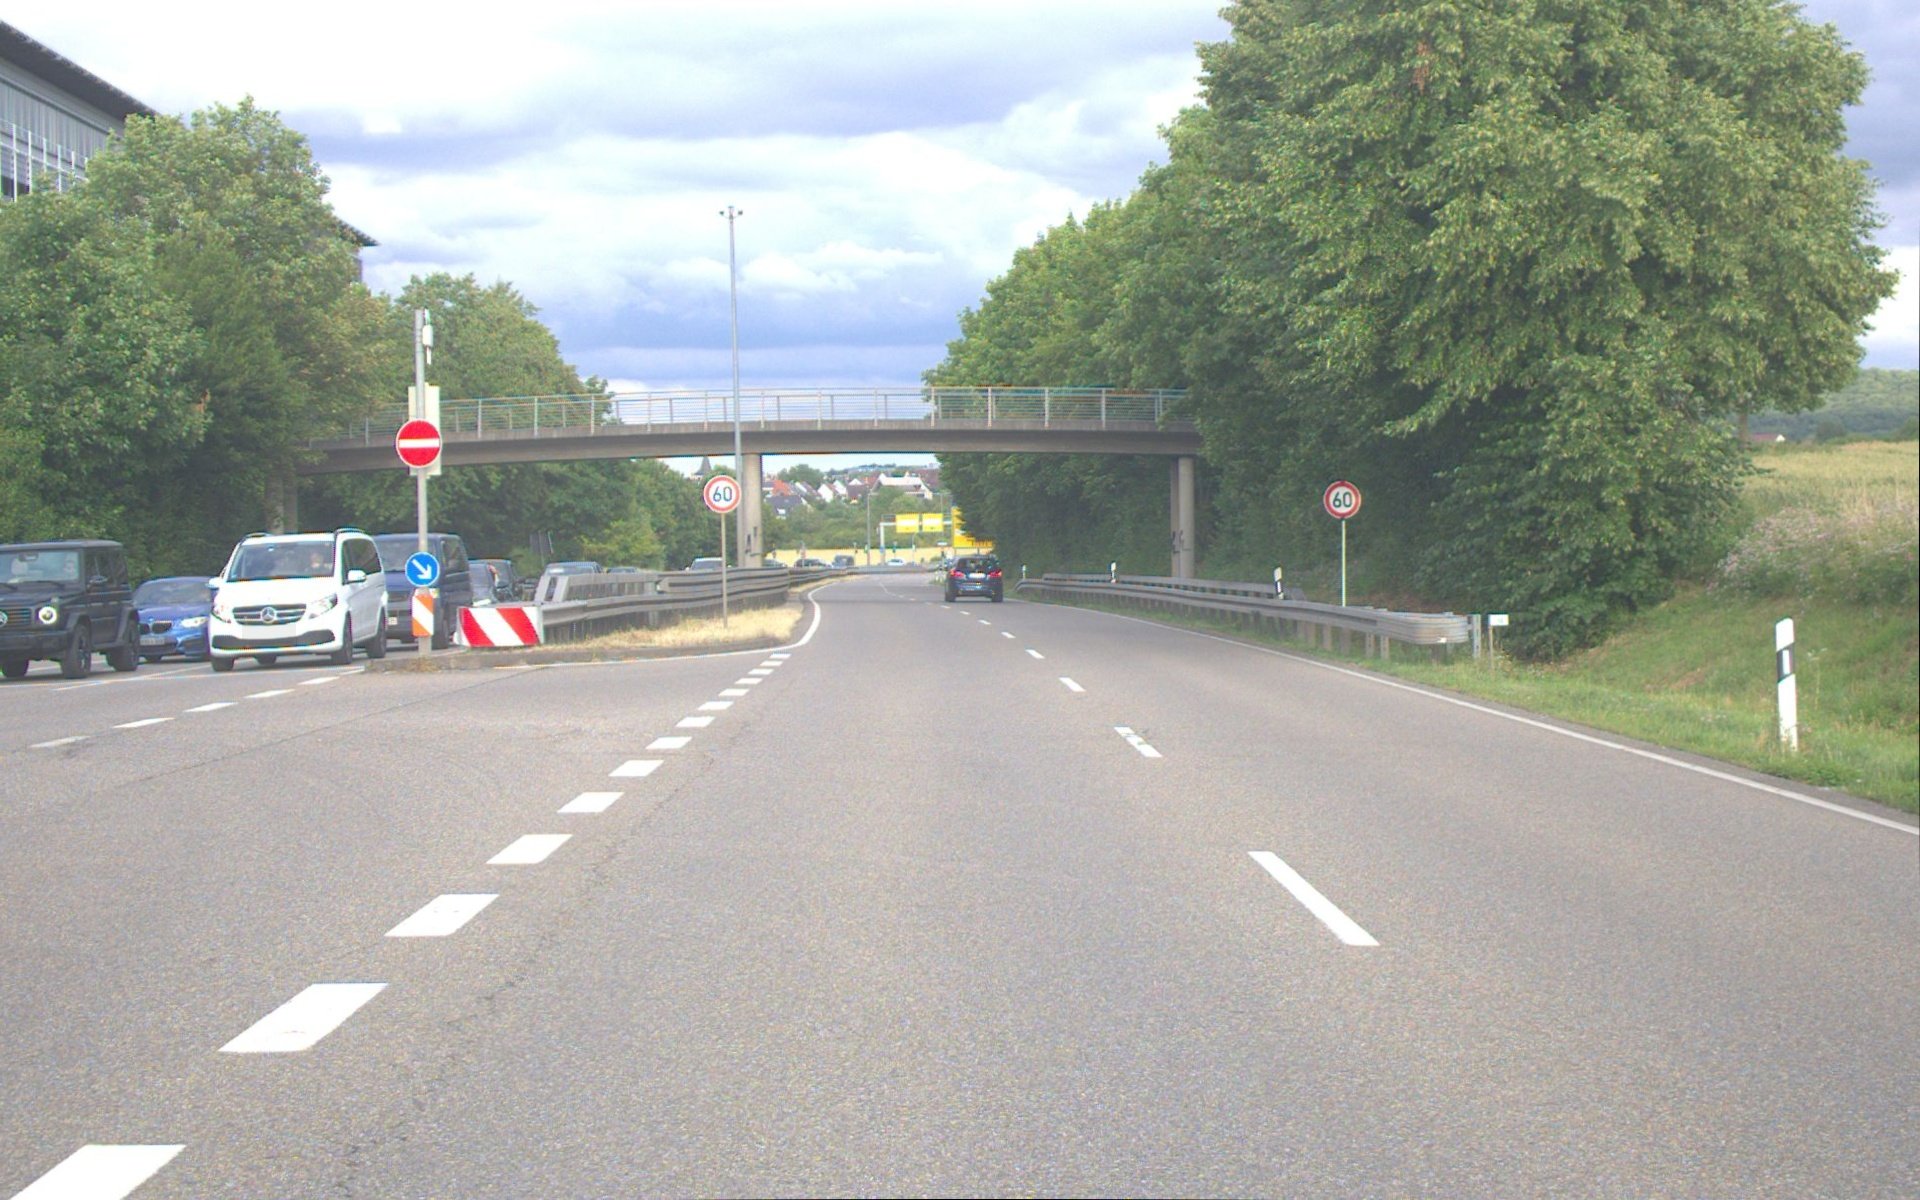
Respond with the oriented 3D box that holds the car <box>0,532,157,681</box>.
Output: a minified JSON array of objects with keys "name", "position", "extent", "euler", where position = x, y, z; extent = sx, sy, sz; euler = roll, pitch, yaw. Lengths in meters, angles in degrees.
[{"name":"car","position":[-13.142,0.053,49.486],"extent":[2.083,2.007,5.217],"euler":[1,1,-2]}]

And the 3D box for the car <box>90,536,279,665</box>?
[{"name":"car","position":[-12.777,-0.011,56.987],"extent":[2.083,2.007,5.217],"euler":[1,1,-2]}]

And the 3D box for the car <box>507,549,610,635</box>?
[{"name":"car","position":[-9.861,-0.217,84.776],"extent":[2.083,2.007,5.217],"euler":[1,1,-2]}]

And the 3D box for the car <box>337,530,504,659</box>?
[{"name":"car","position":[-8.933,-0.114,57.335],"extent":[2.083,2.007,5.217],"euler":[1,1,-2]}]

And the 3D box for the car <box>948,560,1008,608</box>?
[{"name":"car","position":[0.581,-0.534,114.024],"extent":[1.879,1.547,4.000],"euler":[1,1,-1]}]

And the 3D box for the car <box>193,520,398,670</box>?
[{"name":"car","position":[-9.508,-0.095,49.597],"extent":[2.083,2.007,5.217],"euler":[1,1,-2]}]
